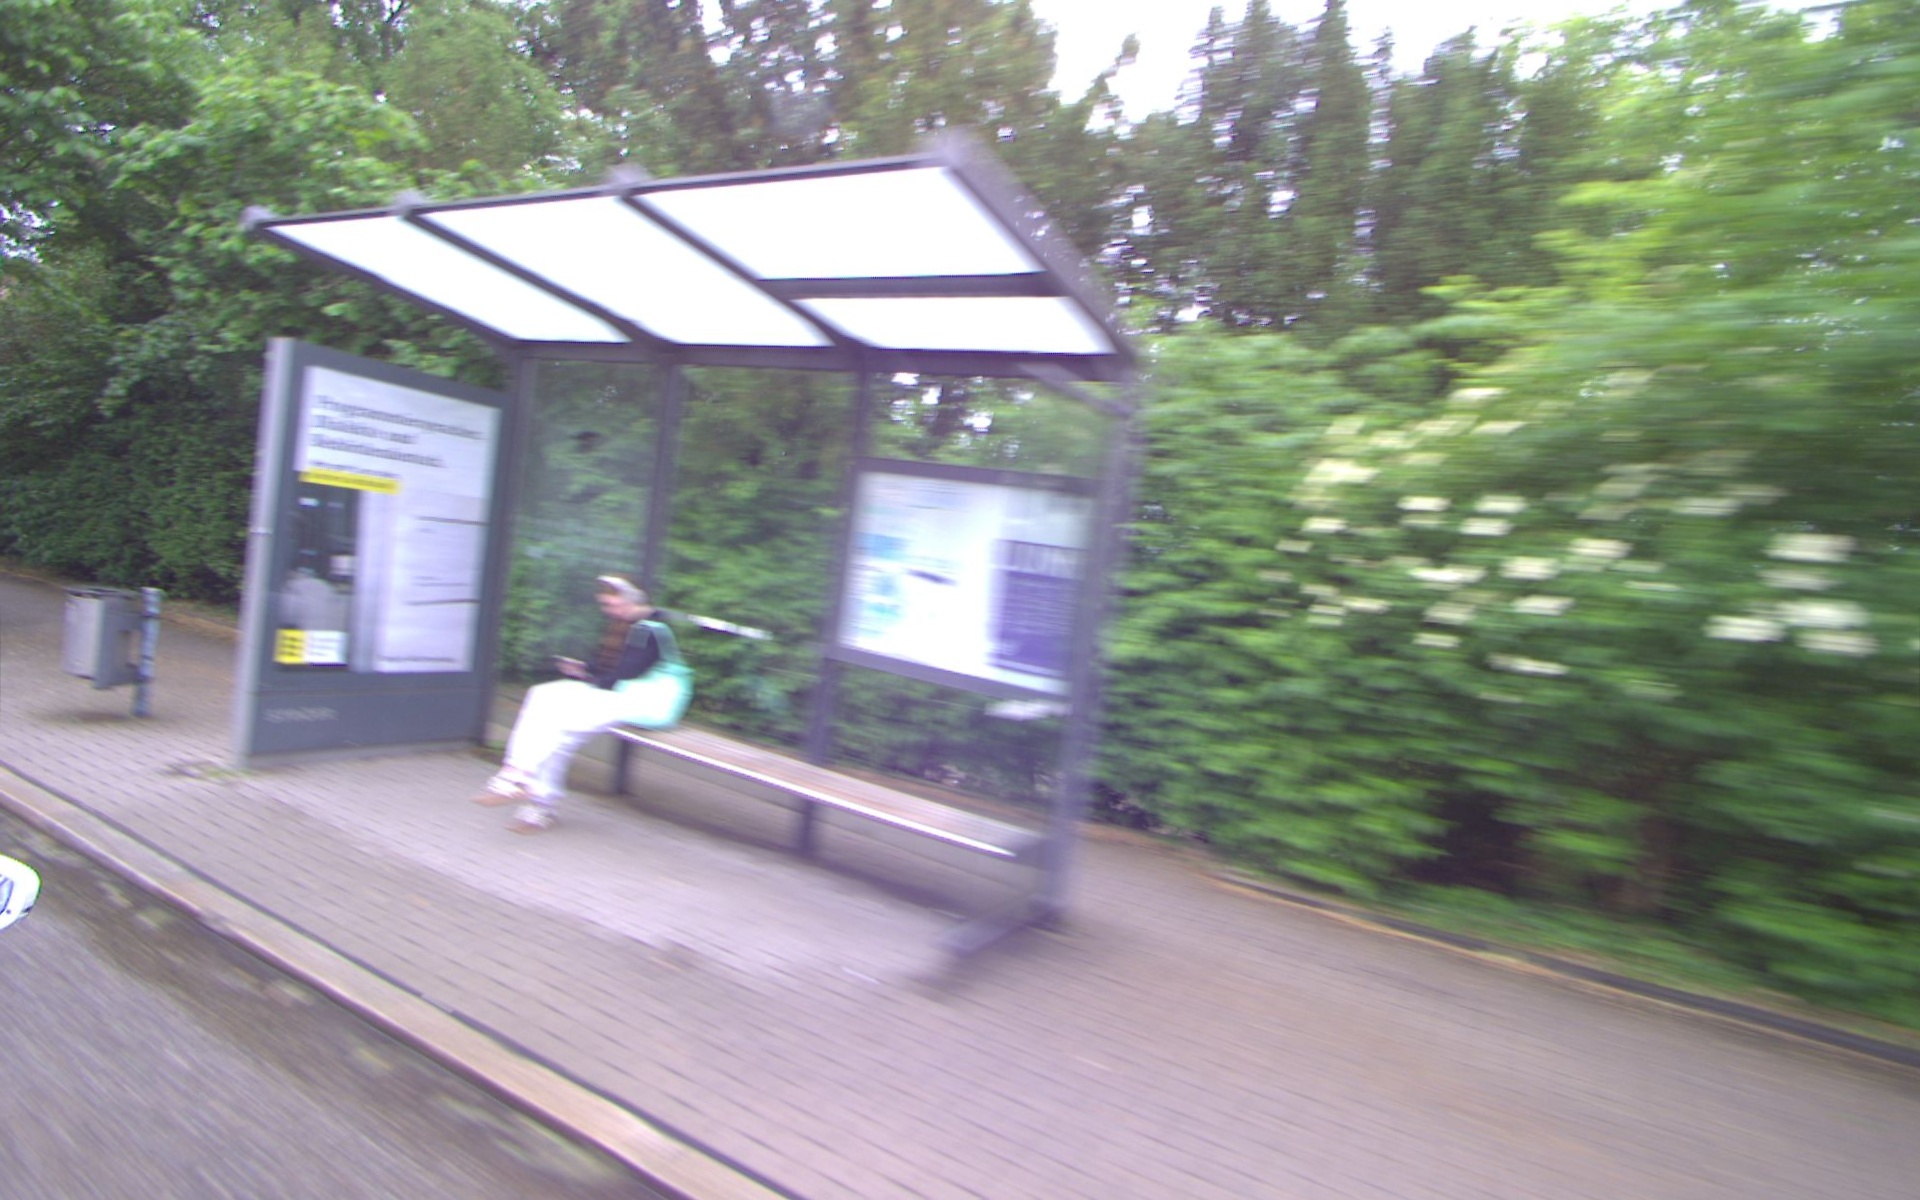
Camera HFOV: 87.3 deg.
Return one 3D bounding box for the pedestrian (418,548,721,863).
[{"bbox_3d":[-2.029,0.495,5.265,0.904,1.374,1.072,8,3,38],"label":"pedestrian"}]
